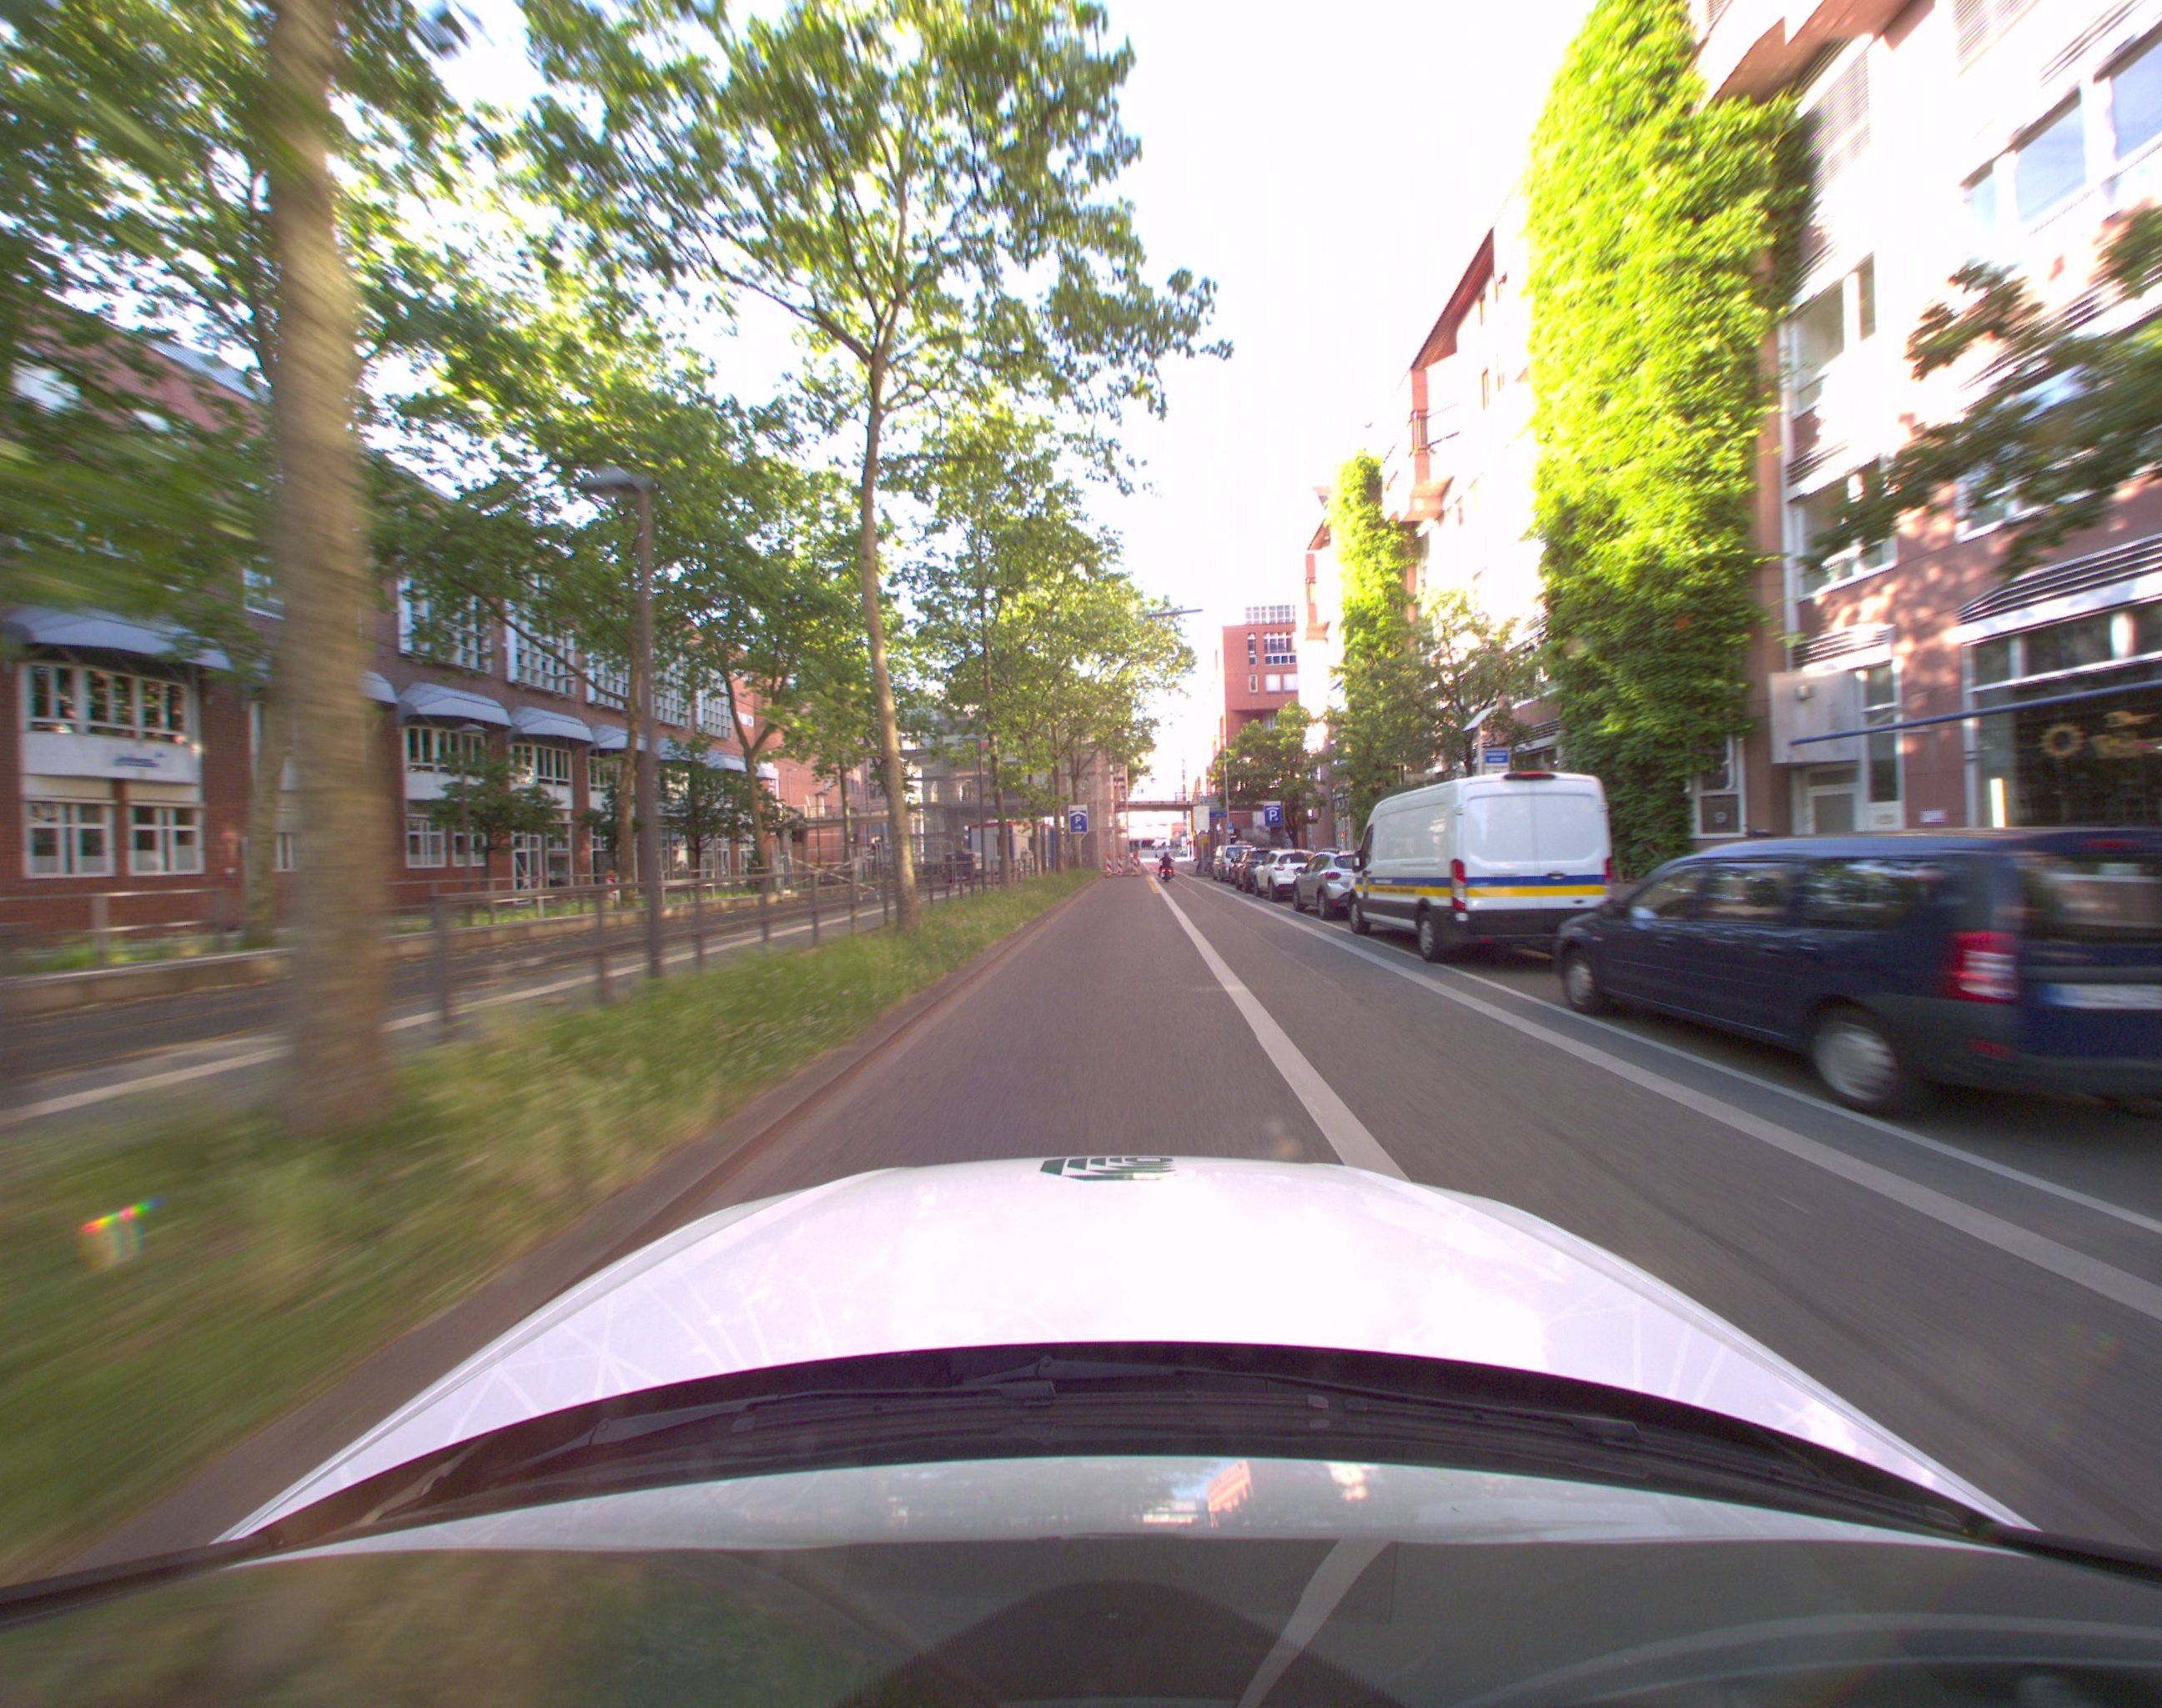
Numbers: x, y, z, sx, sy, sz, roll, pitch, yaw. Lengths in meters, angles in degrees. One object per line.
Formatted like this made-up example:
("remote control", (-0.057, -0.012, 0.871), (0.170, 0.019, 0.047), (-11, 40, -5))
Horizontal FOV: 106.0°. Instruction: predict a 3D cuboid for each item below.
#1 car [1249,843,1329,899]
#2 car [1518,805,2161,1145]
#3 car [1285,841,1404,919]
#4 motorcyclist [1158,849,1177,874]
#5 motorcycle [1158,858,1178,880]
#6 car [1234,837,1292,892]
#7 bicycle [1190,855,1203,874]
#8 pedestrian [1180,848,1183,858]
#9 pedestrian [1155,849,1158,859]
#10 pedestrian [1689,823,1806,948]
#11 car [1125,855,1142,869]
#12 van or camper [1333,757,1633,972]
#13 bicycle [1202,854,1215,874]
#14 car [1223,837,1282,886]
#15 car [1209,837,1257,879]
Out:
("car", (6.499, 0.495, 25.812), (1.614, 1.610, 3.775), (-2, 0, 1))
("car", (5.250, 0.566, 6.162), (1.614, 1.619, 4.488), (-2, 0, 3))
("car", (6.088, 0.554, 19.244), (1.614, 1.603, 3.775), (-2, 0, 1))
("motorcyclist", (4.512, 0.374, 42.510), (1.007, 1.263, 0.775), (0, 0, 4))
("motorcycle", (4.512, 0.777, 42.412), (1.013, 1.097, 2.010), (-1, 0, 5))
("car", (6.743, 0.364, 30.432), (1.612, 1.865, 3.780), (-2, 0, 6))
("bicycle", (7.682, 0.675, 54.120), (0.661, 1.234, 2.231), (-2, 0, 4))
("pedestrian", (19.551, -0.178, 158.783), (0.537, 1.881, 0.531), (-2, 0, 15))
("pedestrian", (14.856, -0.038, 159.987), (0.537, 1.881, 0.531), (-2, 0, 15))
("pedestrian", (8.083, 0.373, 9.914), (0.762, 1.445, 0.780), (-1, -1, 2))
("car", (7.015, 1.050, 109.179), (1.846, 1.717, 3.999), (-2, 0, 0))
("van or camper", (5.748, 0.118, 12.729), (2.040, 2.540, 5.778), (-2, 0, 3))
("bicycle", (8.462, 0.660, 54.047), (0.661, 1.234, 2.231), (-2, 0, 4))
("car", (7.621, 0.296, 36.524), (1.828, 2.013, 4.391), (-2, 0, 2))
("car", (7.873, 0.169, 42.498), (1.828, 2.013, 4.391), (-2, 0, 2))
